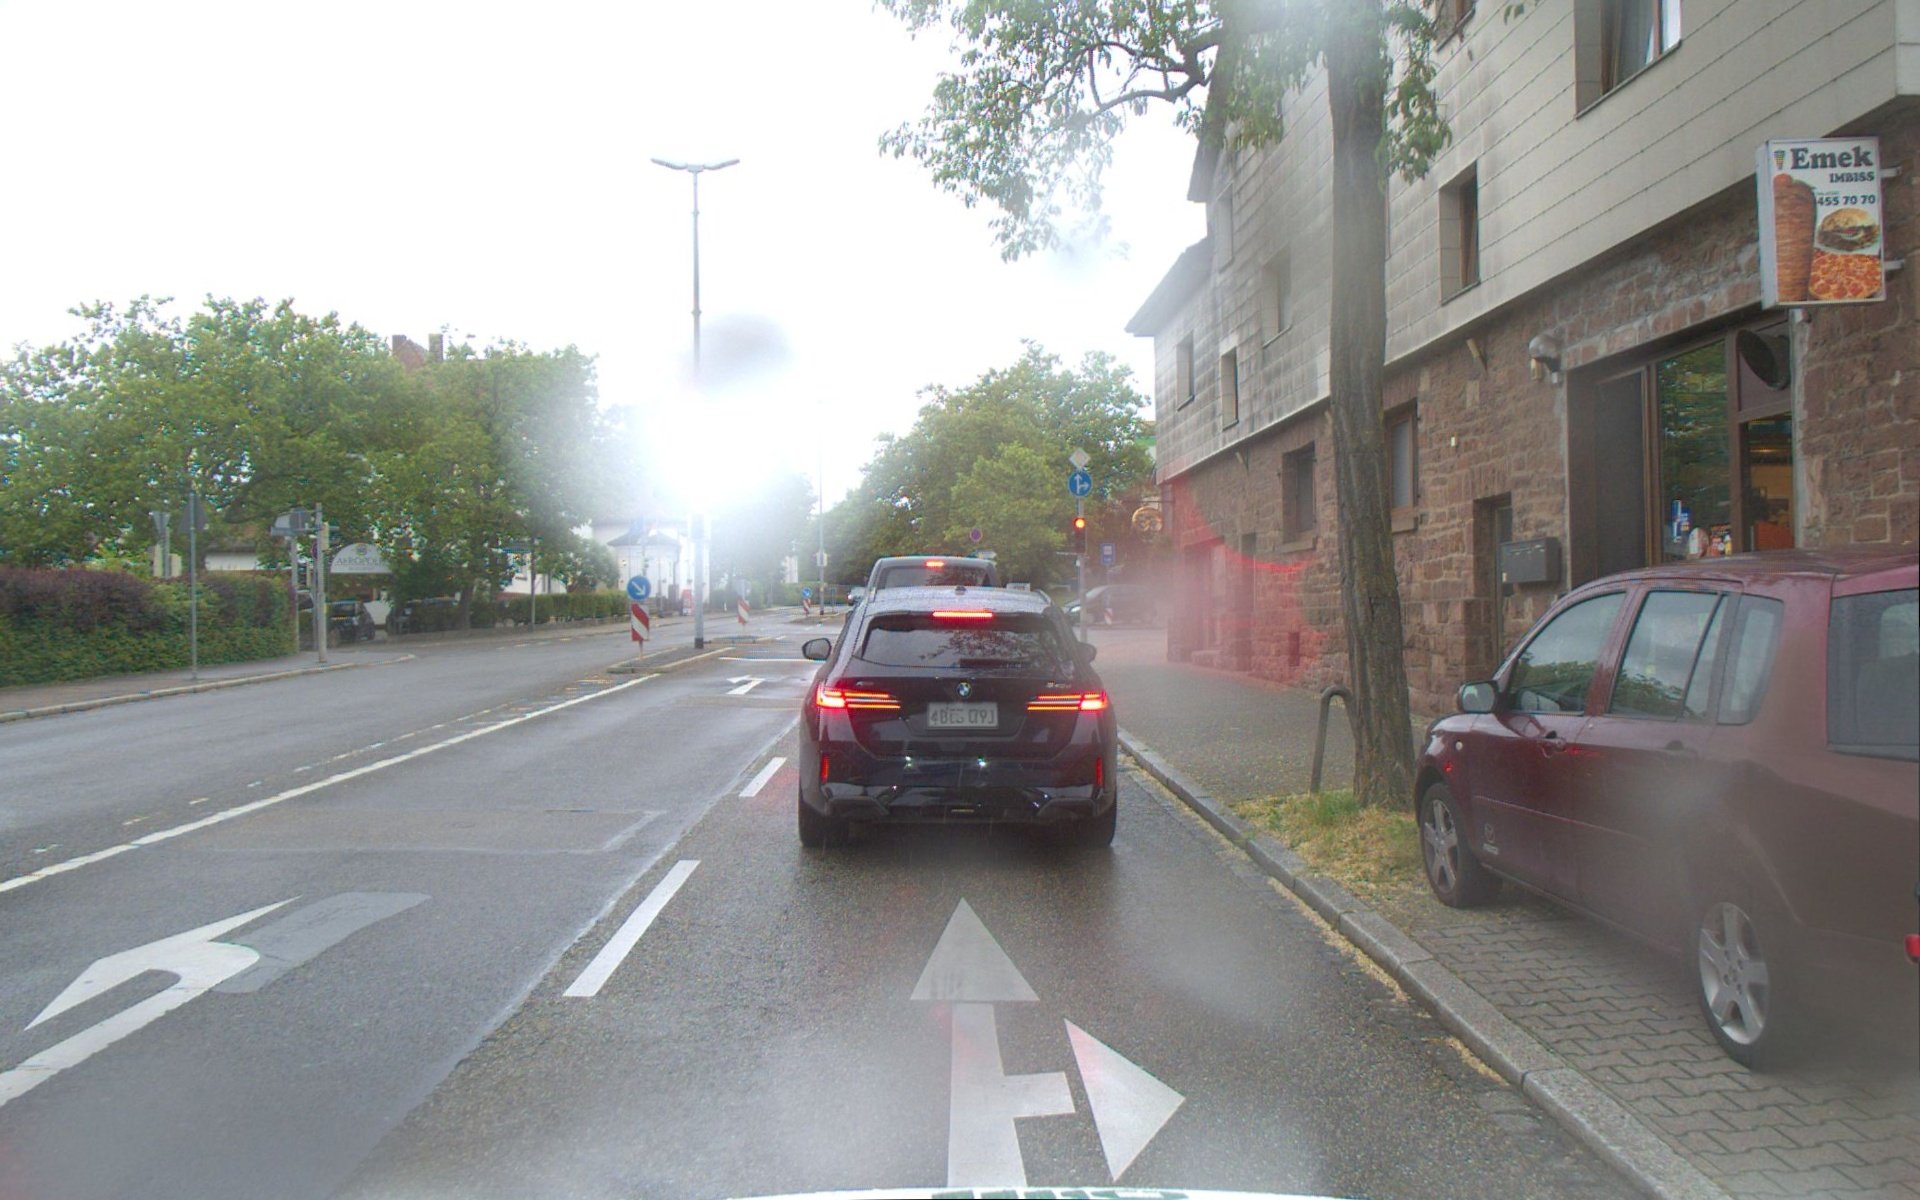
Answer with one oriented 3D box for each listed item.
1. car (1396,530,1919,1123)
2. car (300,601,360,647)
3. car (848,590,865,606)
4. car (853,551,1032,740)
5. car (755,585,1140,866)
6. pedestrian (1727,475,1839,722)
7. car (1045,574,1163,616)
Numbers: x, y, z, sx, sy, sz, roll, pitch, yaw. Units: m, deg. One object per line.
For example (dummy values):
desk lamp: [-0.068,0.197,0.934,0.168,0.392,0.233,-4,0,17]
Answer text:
car: [3.002,0.537,6.185,1.552,1.516,3.625,-3,1,-3]
car: [-23.095,0.843,60.574,1.966,1.579,3.973,0,1,-22]
car: [-9.218,-0.200,147.260,1.435,1.422,3.320,0,1,-1]
car: [-0.266,0.424,18.209,1.748,1.849,3.998,0,1,-3]
car: [-0.182,0.662,10.981,2.023,1.472,4.480,1,0,-3]
pedestrian: [6.355,-0.012,12.782,0.624,1.871,0.483,0,0,-1]
car: [5.887,-0.204,67.783,4.402,1.614,2.059,1,0,-20]
